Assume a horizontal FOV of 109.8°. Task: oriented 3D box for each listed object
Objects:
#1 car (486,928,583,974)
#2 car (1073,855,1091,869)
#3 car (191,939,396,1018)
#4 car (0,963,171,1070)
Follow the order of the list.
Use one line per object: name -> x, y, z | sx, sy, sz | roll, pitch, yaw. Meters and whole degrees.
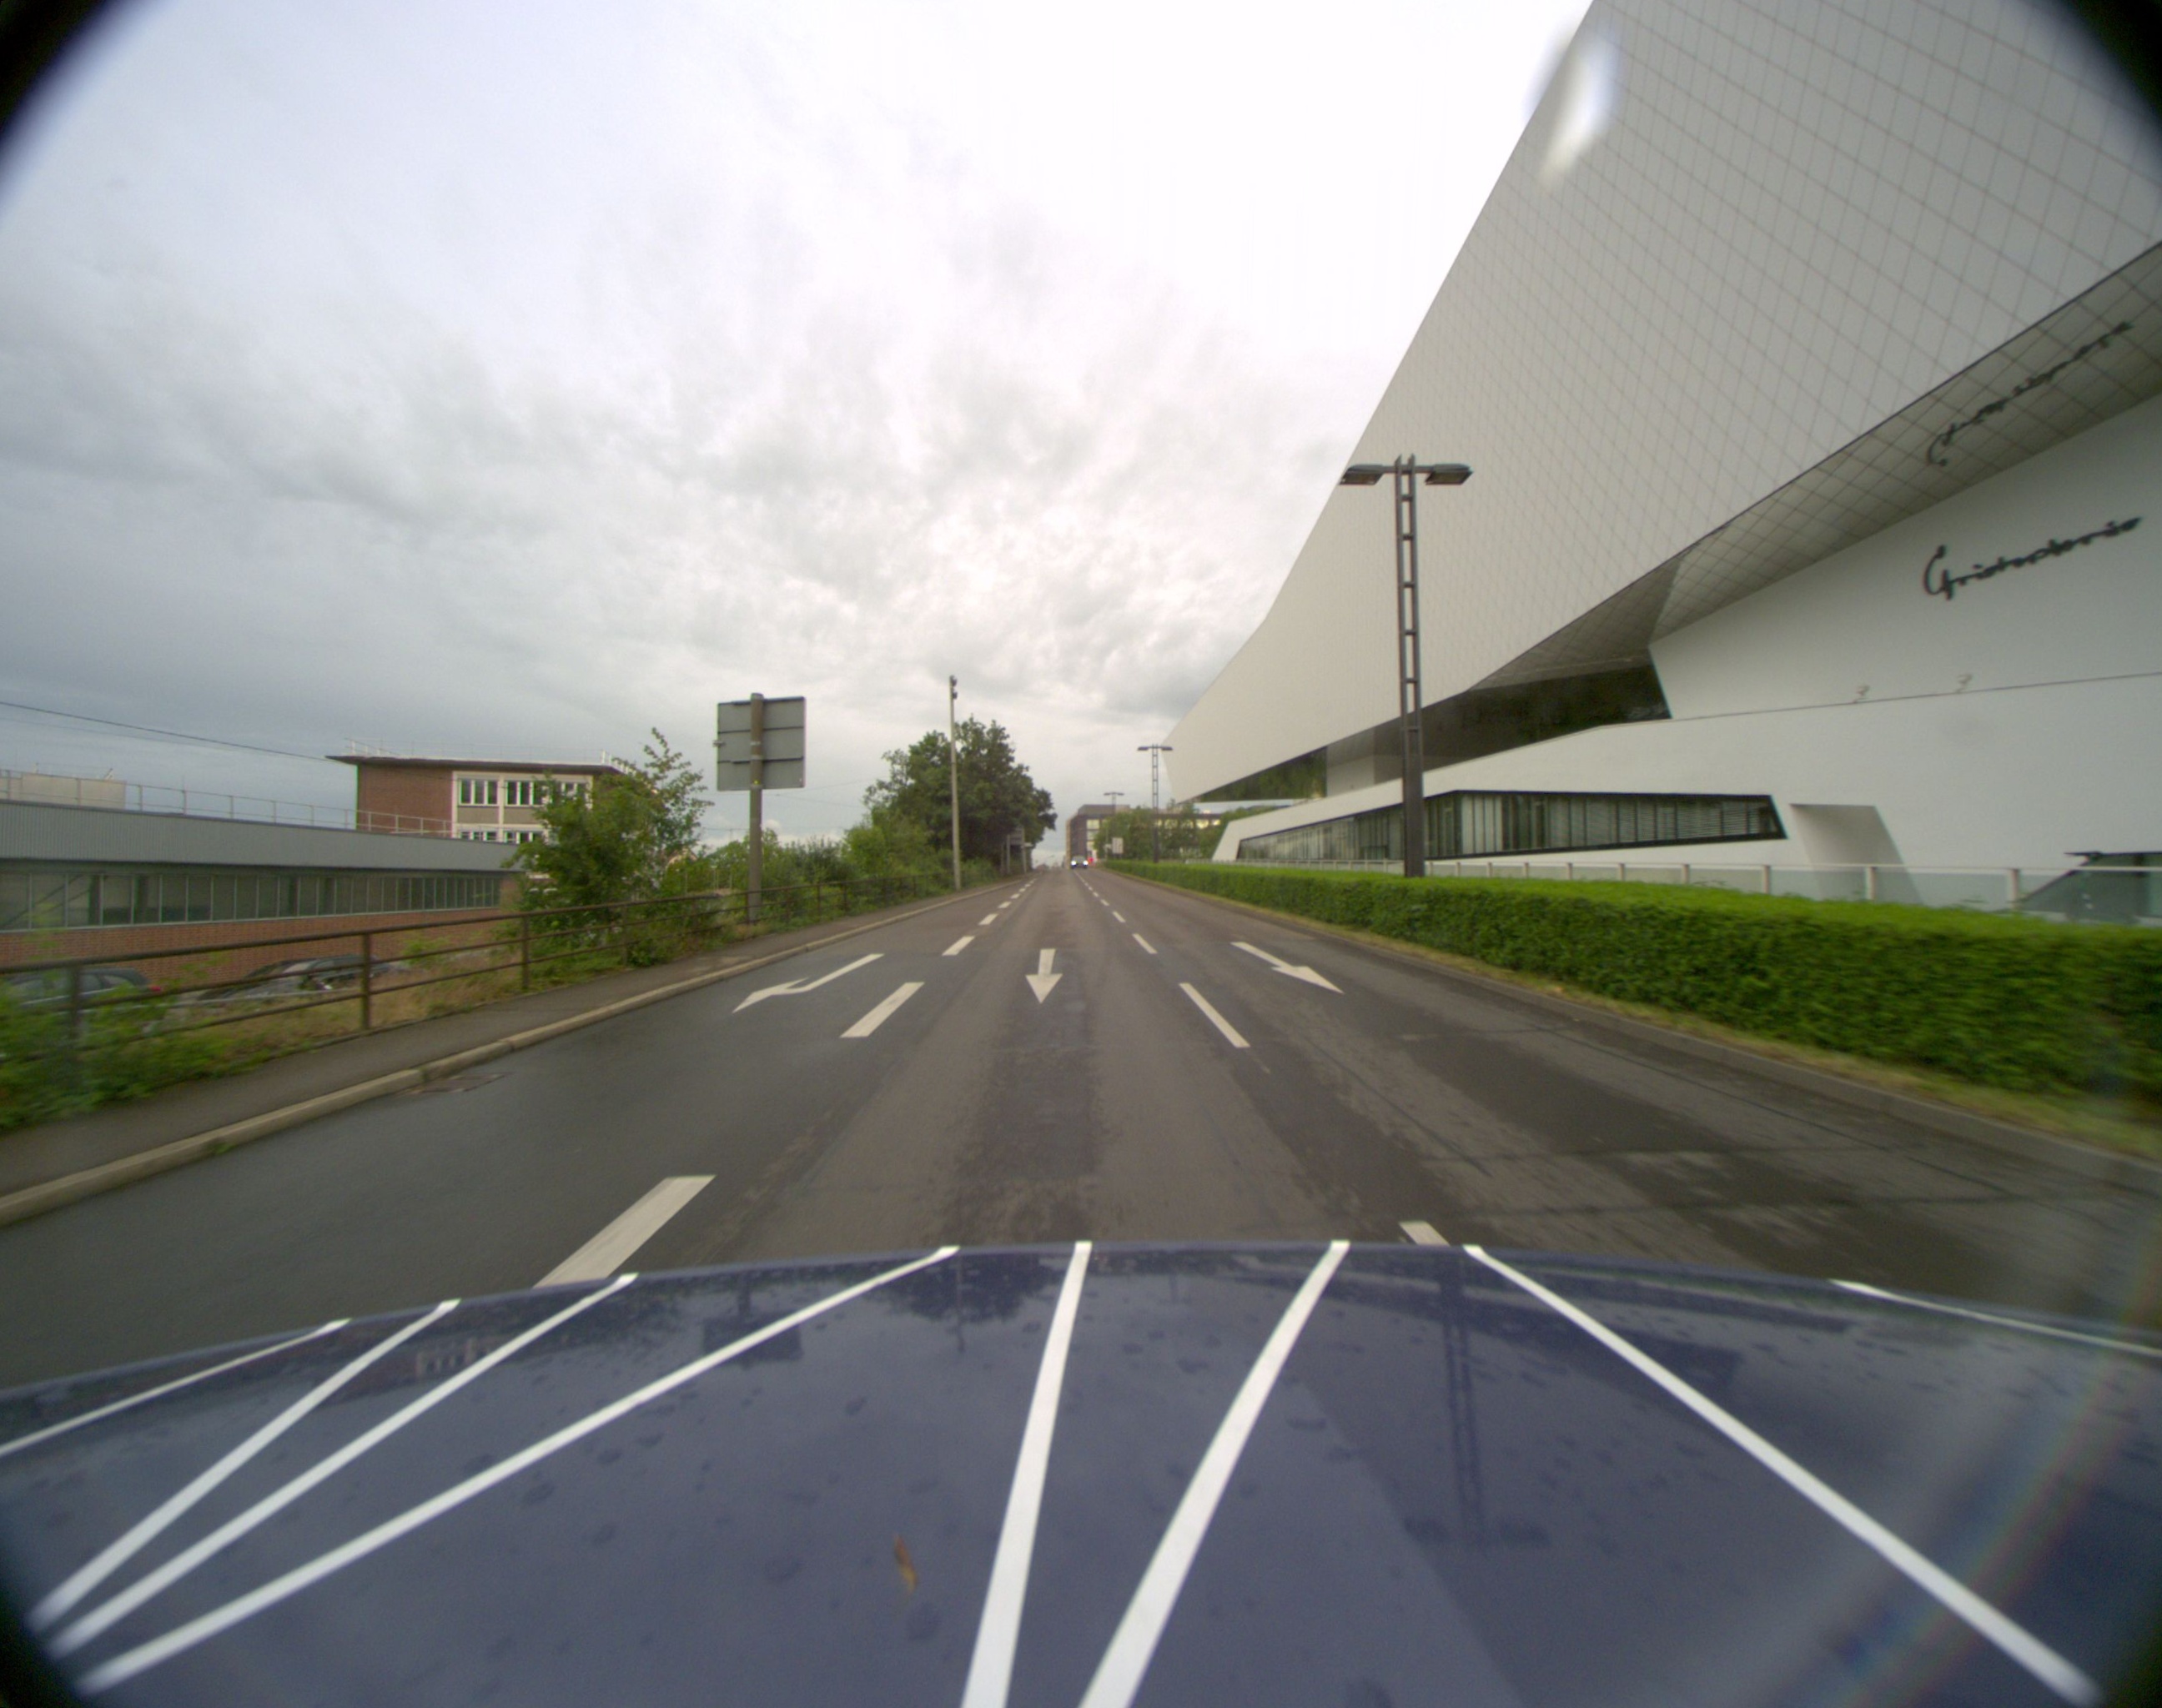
car -> -24.456, 4.306, 34.178 | 1.703, 1.546, 3.856 | -1, 0, -4
car -> 0.117, 0.956, 92.728 | 1.841, 1.574, 4.288 | -1, 0, -3
car -> -21.560, 3.337, 21.051 | 1.702, 1.546, 3.856 | -1, 0, -2
car -> -21.117, 3.256, 14.744 | 1.637, 1.621, 4.429 | -1, 0, -2
